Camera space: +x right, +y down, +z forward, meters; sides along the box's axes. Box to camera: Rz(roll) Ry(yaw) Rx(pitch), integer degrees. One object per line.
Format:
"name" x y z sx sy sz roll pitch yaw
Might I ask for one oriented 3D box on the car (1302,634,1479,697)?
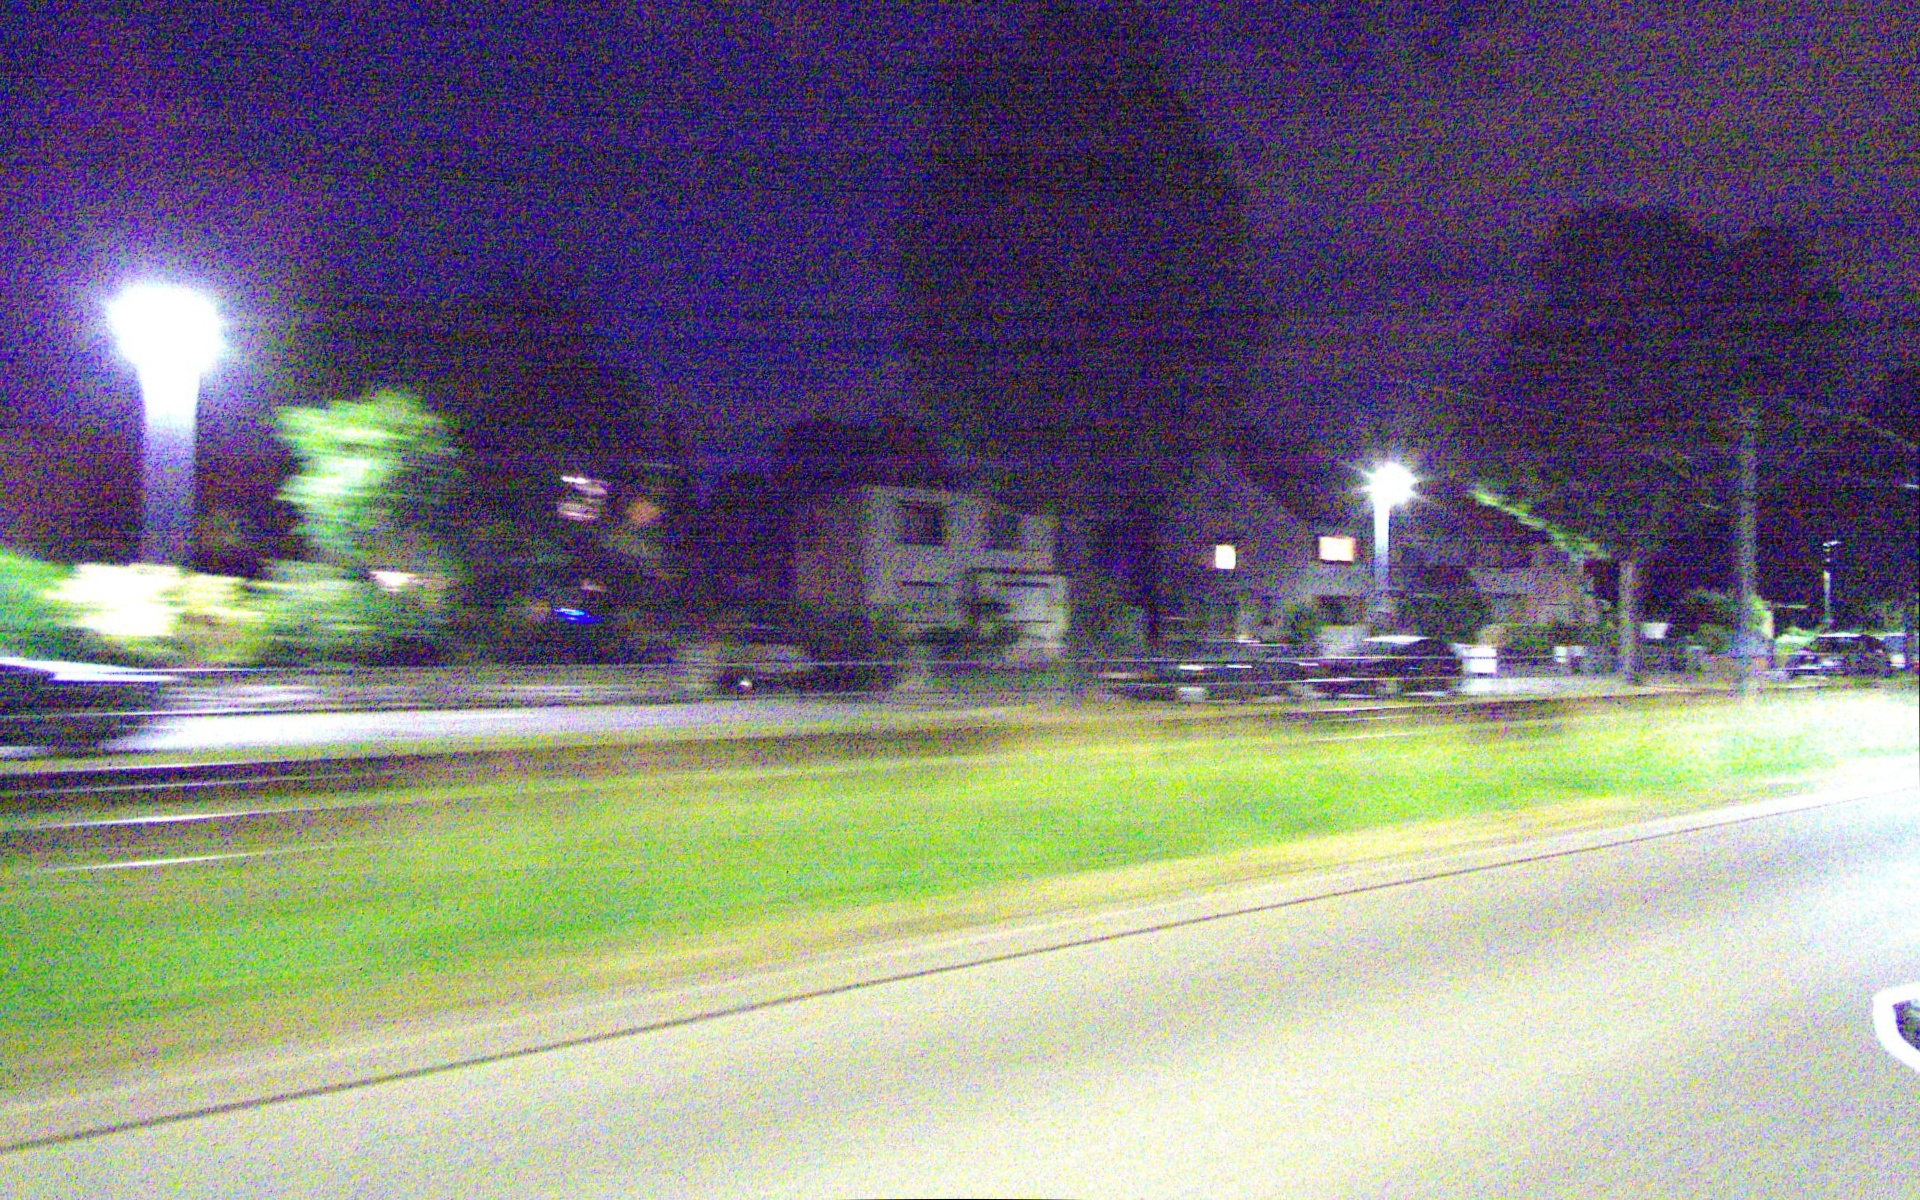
"car" 10.147 1.547 23.628 4.097 1.382 1.721 2 -5 -30

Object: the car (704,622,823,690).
"car" -5.353 1.453 27.010 1.868 1.563 3.965 2 0 -32

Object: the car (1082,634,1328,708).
"car" 5.074 1.453 20.645 4.921 1.382 1.894 2 -5 -28

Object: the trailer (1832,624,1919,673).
"trailer" 36.189 1.869 38.695 5.602 1.804 2.017 1 -4 -28

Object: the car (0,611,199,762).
"car" -11.334 0.975 10.913 4.638 1.588 1.757 1 -6 -31

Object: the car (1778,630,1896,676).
"car" 31.703 1.909 36.291 4.477 1.597 1.711 2 -3 -27
